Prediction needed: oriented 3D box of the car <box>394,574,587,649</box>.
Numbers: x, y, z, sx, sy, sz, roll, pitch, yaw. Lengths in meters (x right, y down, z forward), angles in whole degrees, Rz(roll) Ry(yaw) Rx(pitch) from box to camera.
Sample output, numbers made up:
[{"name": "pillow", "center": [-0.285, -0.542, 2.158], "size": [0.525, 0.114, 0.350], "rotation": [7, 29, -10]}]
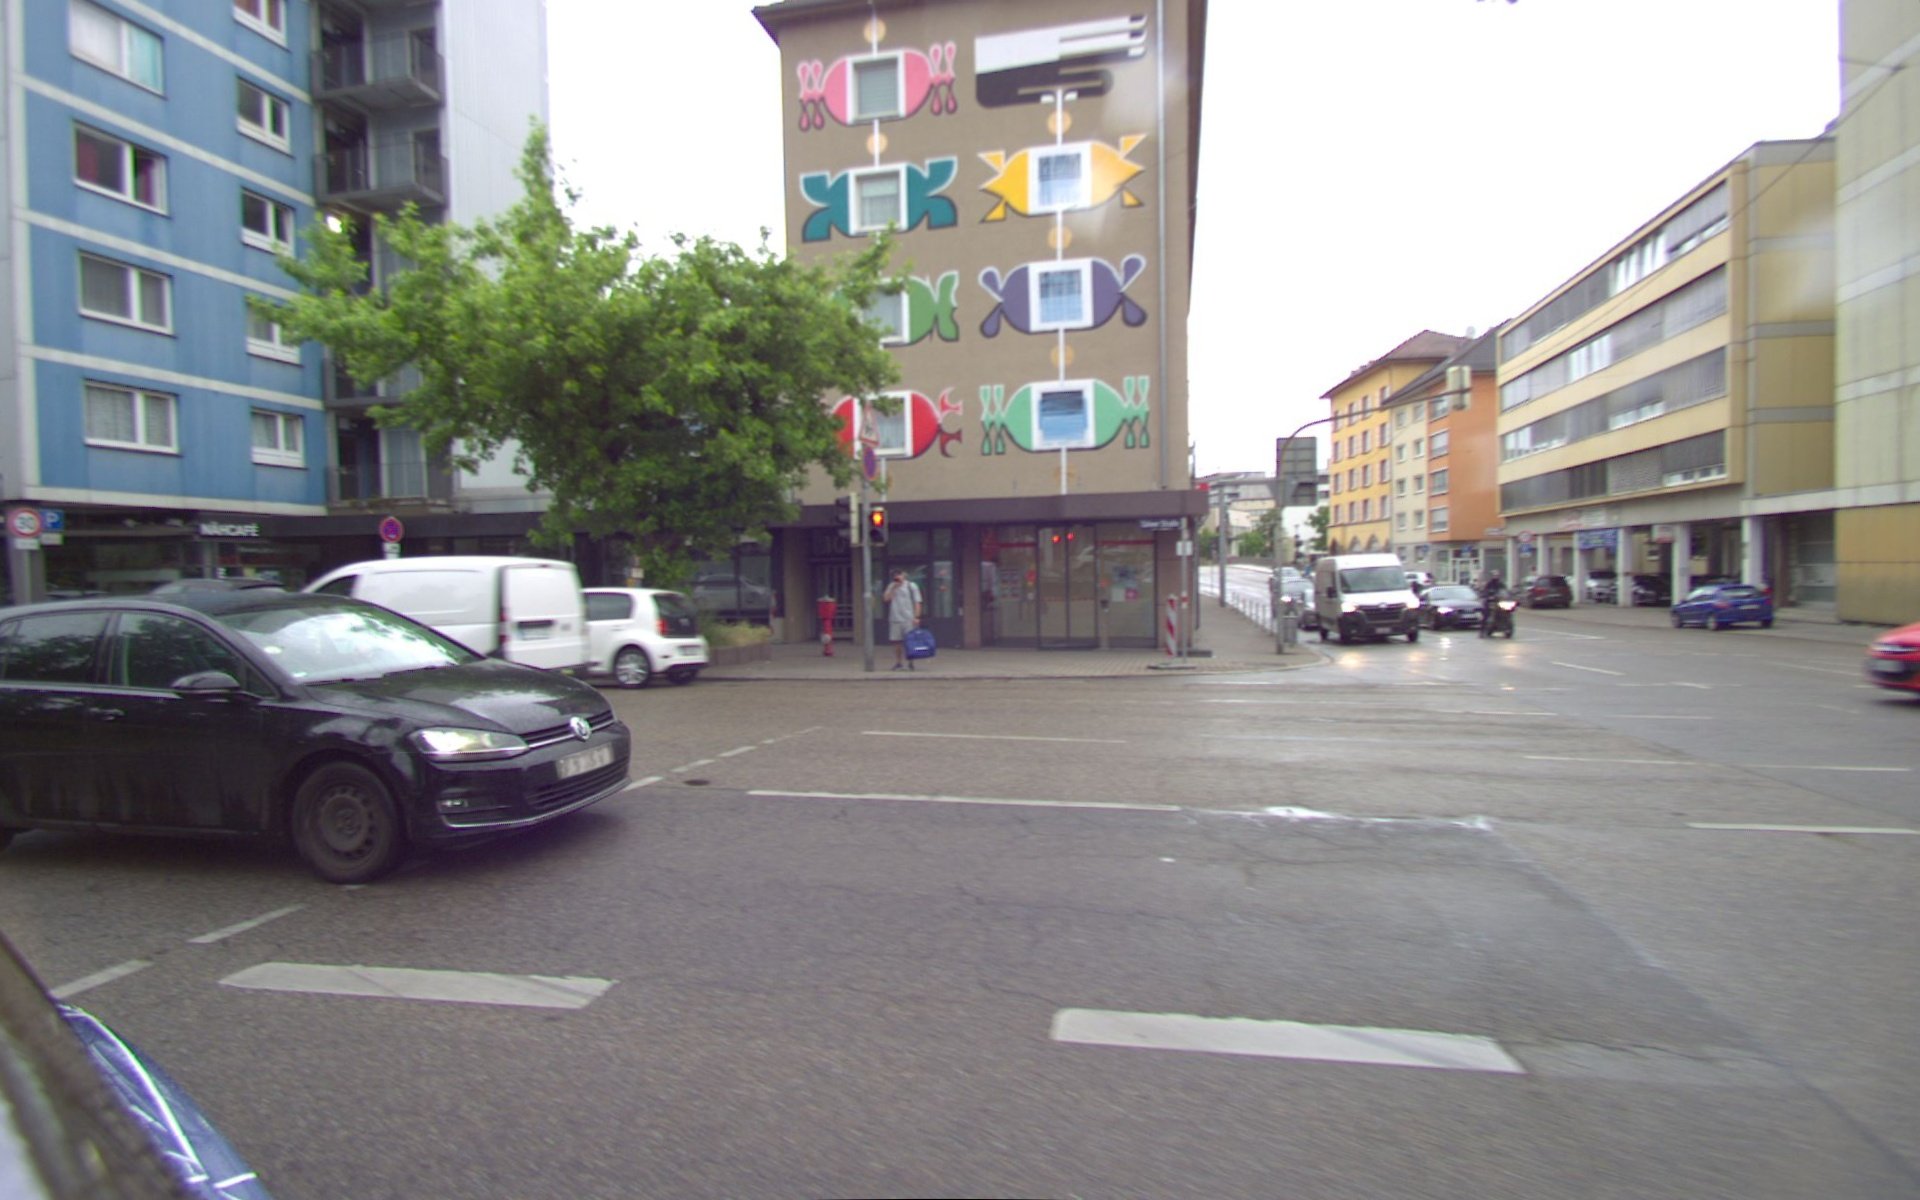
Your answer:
[{"name": "car", "center": [-11.440, 0.246, 24.738], "size": [4.143, 1.678, 1.645], "rotation": [1, 3, 12]}]

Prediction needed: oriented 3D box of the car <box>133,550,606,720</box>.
[{"name": "car", "center": [-6.978, 0.399, 12.061], "size": [5.064, 1.781, 1.750], "rotation": [-1, 0, 14]}]

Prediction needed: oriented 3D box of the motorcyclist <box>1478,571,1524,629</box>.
[{"name": "motorcyclist", "center": [14.294, 0.001, 26.760], "size": [0.870, 1.490, 0.793], "rotation": [-1, 0, 12]}]

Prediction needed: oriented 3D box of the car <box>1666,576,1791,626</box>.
[{"name": "car", "center": [24.814, 0.028, 32.847], "size": [1.832, 1.430, 3.554], "rotation": [-4, -1, 13]}]

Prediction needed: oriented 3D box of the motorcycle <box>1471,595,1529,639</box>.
[{"name": "motorcycle", "center": [14.320, 0.441, 26.875], "size": [0.870, 1.108, 1.793], "rotation": [-1, 0, 12]}]

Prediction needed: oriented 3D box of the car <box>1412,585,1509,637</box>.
[{"name": "car", "center": [15.638, 0.333, 31.805], "size": [1.832, 1.430, 3.554], "rotation": [-4, -1, 13]}]

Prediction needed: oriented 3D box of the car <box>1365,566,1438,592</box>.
[{"name": "car", "center": [30.711, -1.458, 70.437], "size": [1.819, 1.721, 4.381], "rotation": [-3, 3, -34]}]

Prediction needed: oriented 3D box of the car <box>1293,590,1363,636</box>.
[{"name": "car", "center": [13.352, 0.437, 36.902], "size": [1.832, 1.489, 3.554], "rotation": [-4, -1, 13]}]

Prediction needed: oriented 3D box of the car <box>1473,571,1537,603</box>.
[{"name": "car", "center": [29.658, -0.679, 55.215], "size": [1.832, 1.579, 4.351], "rotation": [-4, -1, 13]}]

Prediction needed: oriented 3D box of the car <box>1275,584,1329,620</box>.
[{"name": "car", "center": [15.066, 0.095, 44.725], "size": [1.832, 1.430, 3.554], "rotation": [-4, -1, 13]}]

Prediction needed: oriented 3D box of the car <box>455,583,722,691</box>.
[{"name": "car", "center": [-5.530, 0.550, 15.229], "size": [3.406, 1.495, 1.701], "rotation": [-1, -1, 12]}]

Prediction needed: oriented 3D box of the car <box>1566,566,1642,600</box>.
[{"name": "car", "center": [33.923, -0.866, 53.445], "size": [1.831, 1.579, 4.352], "rotation": [-4, -1, 12]}]

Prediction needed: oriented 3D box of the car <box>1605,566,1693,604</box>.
[{"name": "car", "center": [32.659, -0.689, 48.132], "size": [1.831, 1.579, 4.352], "rotation": [-4, -1, 12]}]

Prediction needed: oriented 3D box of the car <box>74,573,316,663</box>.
[{"name": "car", "center": [-15.640, 0.312, 20.753], "size": [4.143, 1.678, 1.645], "rotation": [1, 3, 12]}]

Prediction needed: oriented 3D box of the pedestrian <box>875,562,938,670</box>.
[{"name": "pedestrian", "center": [-0.892, 0.262, 17.189], "size": [0.894, 1.787, 0.815], "rotation": [0, 0, 12]}]

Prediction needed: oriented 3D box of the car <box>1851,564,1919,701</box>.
[{"name": "car", "center": [12.321, 0.328, 10.308], "size": [4.541, 1.434, 1.699], "rotation": [0, 0, 16]}]

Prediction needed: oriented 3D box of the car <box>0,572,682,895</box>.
[{"name": "car", "center": [-3.901, 0.631, 5.806], "size": [4.124, 1.435, 1.681], "rotation": [-2, 2, 13]}]

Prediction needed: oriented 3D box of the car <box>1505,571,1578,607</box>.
[{"name": "car", "center": [28.632, -0.541, 49.980], "size": [1.832, 1.579, 4.351], "rotation": [-4, -1, 13]}]

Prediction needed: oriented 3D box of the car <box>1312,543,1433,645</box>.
[{"name": "car", "center": [11.662, -0.162, 29.051], "size": [2.210, 2.543, 5.448], "rotation": [-3, -1, 13]}]
